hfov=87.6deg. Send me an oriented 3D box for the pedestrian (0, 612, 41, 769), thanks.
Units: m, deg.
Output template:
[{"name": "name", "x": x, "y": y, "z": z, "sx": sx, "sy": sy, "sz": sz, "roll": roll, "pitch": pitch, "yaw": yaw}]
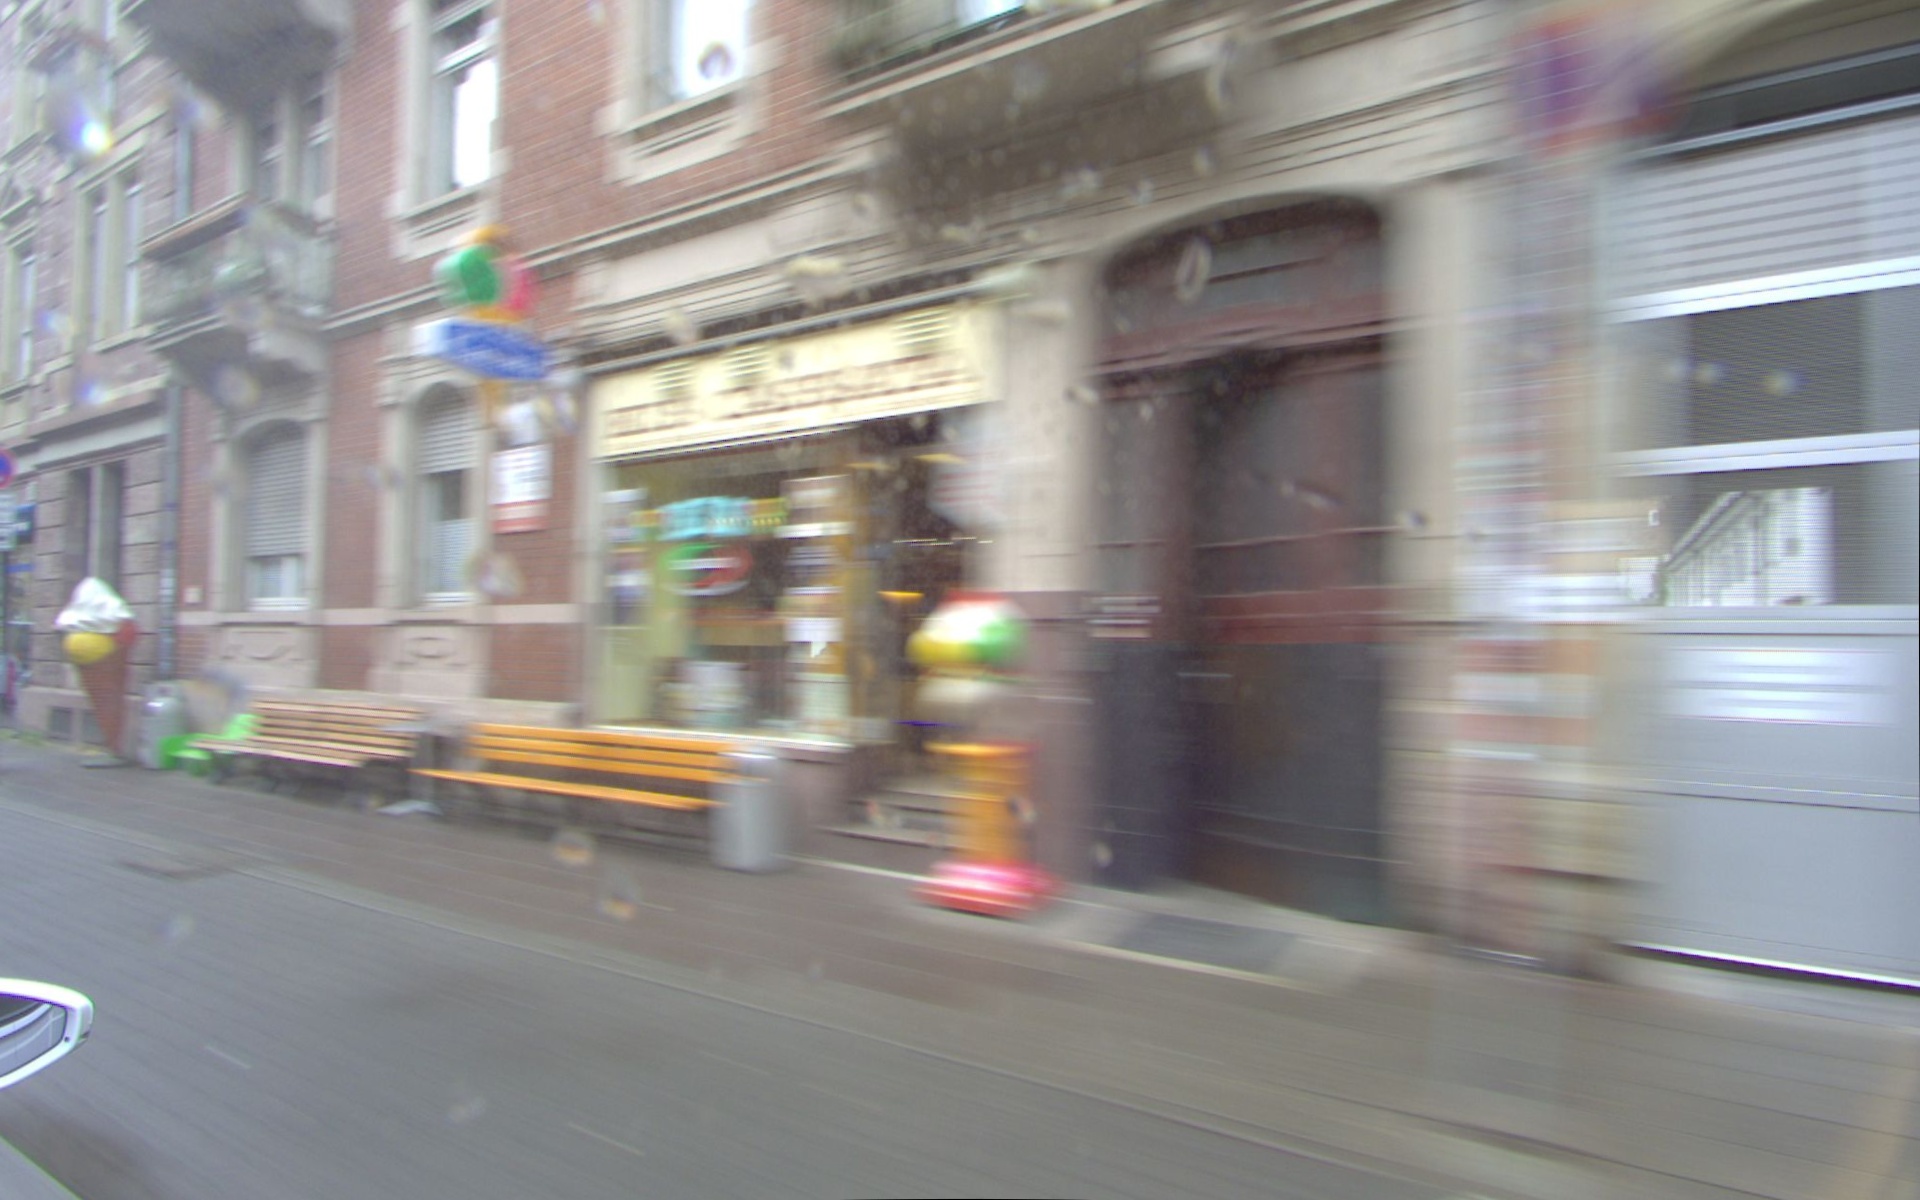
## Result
[{"name": "pedestrian", "x": -10.361, "y": 0.945, "z": 10.638, "sx": 0.798, "sy": 1.634, "sz": 0.678, "roll": 0, "pitch": -1, "yaw": 32}]
